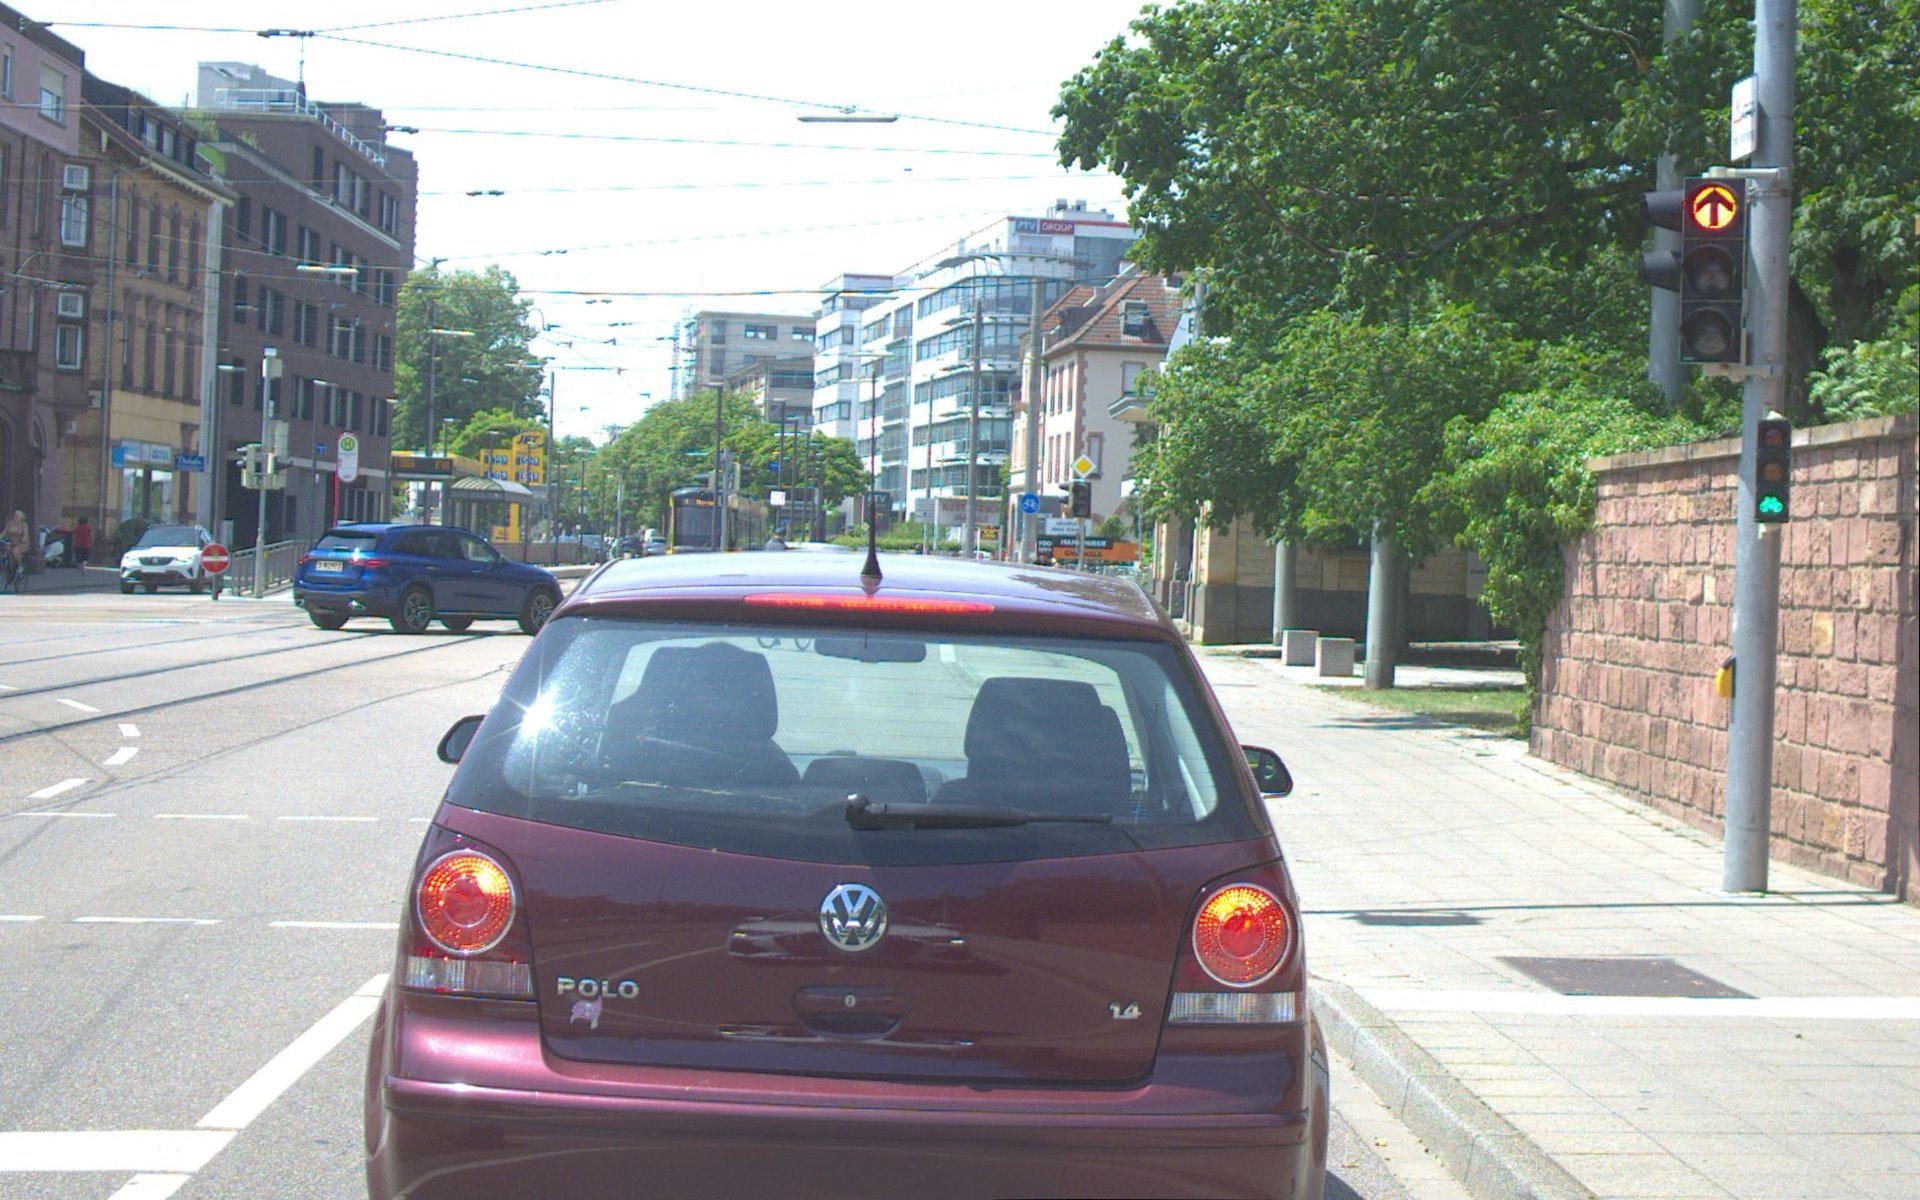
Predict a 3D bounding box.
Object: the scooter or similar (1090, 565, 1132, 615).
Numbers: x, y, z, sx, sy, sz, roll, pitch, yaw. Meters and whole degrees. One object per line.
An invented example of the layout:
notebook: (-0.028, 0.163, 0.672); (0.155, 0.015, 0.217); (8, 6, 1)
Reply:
scooter or similar: (3.680, -0.241, 84.004); (0.339, 1.174, 1.468); (2, 1, -25)

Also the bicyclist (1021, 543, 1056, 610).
bicyclist: (1.956, -0.580, 85.500); (0.832, 1.612, 0.860); (-1, 2, 1)

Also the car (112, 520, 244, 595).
car: (-17.364, -0.953, 76.500); (1.993, 1.547, 4.139); (2, 1, -1)

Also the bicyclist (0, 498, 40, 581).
bicyclist: (-20.577, -1.322, 74.991); (0.694, 1.759, 1.137); (2, 2, -2)

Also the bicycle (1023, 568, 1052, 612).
bicycle: (1.925, -0.262, 85.465); (0.668, 0.999, 1.864); (-1, 2, 1)

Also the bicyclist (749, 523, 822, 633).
bicyclist: (-2.824, -0.360, 55.761); (0.728, 1.754, 0.922); (3, 1, 33)

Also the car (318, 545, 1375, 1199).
car: (-0.223, 0.648, 6.728); (1.561, 1.448, 3.062); (2, 1, -2)

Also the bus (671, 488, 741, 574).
bus: (-9.286, -2.522, 126.254); (2.145, 2.993, 6.574); (2, 1, -2)

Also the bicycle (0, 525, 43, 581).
bicycle: (-20.579, -1.027, 74.952); (0.694, 1.145, 1.932); (2, 2, -2)

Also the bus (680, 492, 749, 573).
bus: (-9.449, -2.592, 132.790); (2.233, 2.993, 6.594); (2, 1, -1)

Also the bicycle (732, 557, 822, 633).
bicycle: (-2.951, -0.075, 55.543); (0.376, 1.193, 1.901); (3, 1, 33)

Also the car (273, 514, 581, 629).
car: (-8.119, -0.416, 52.789); (1.998, 1.619, 4.622); (3, 1, 34)

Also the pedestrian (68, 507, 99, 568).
pedestrian: (-22.450, -1.606, 88.061); (0.614, 1.555, 0.640); (2, 1, -1)

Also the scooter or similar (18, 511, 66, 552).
scooter or similar: (-24.509, -1.817, 91.805); (0.488, 1.078, 1.576); (2, 1, 16)

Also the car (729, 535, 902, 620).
car: (-2.748, -0.434, 66.267); (1.825, 1.525, 3.995); (2, 1, 22)
